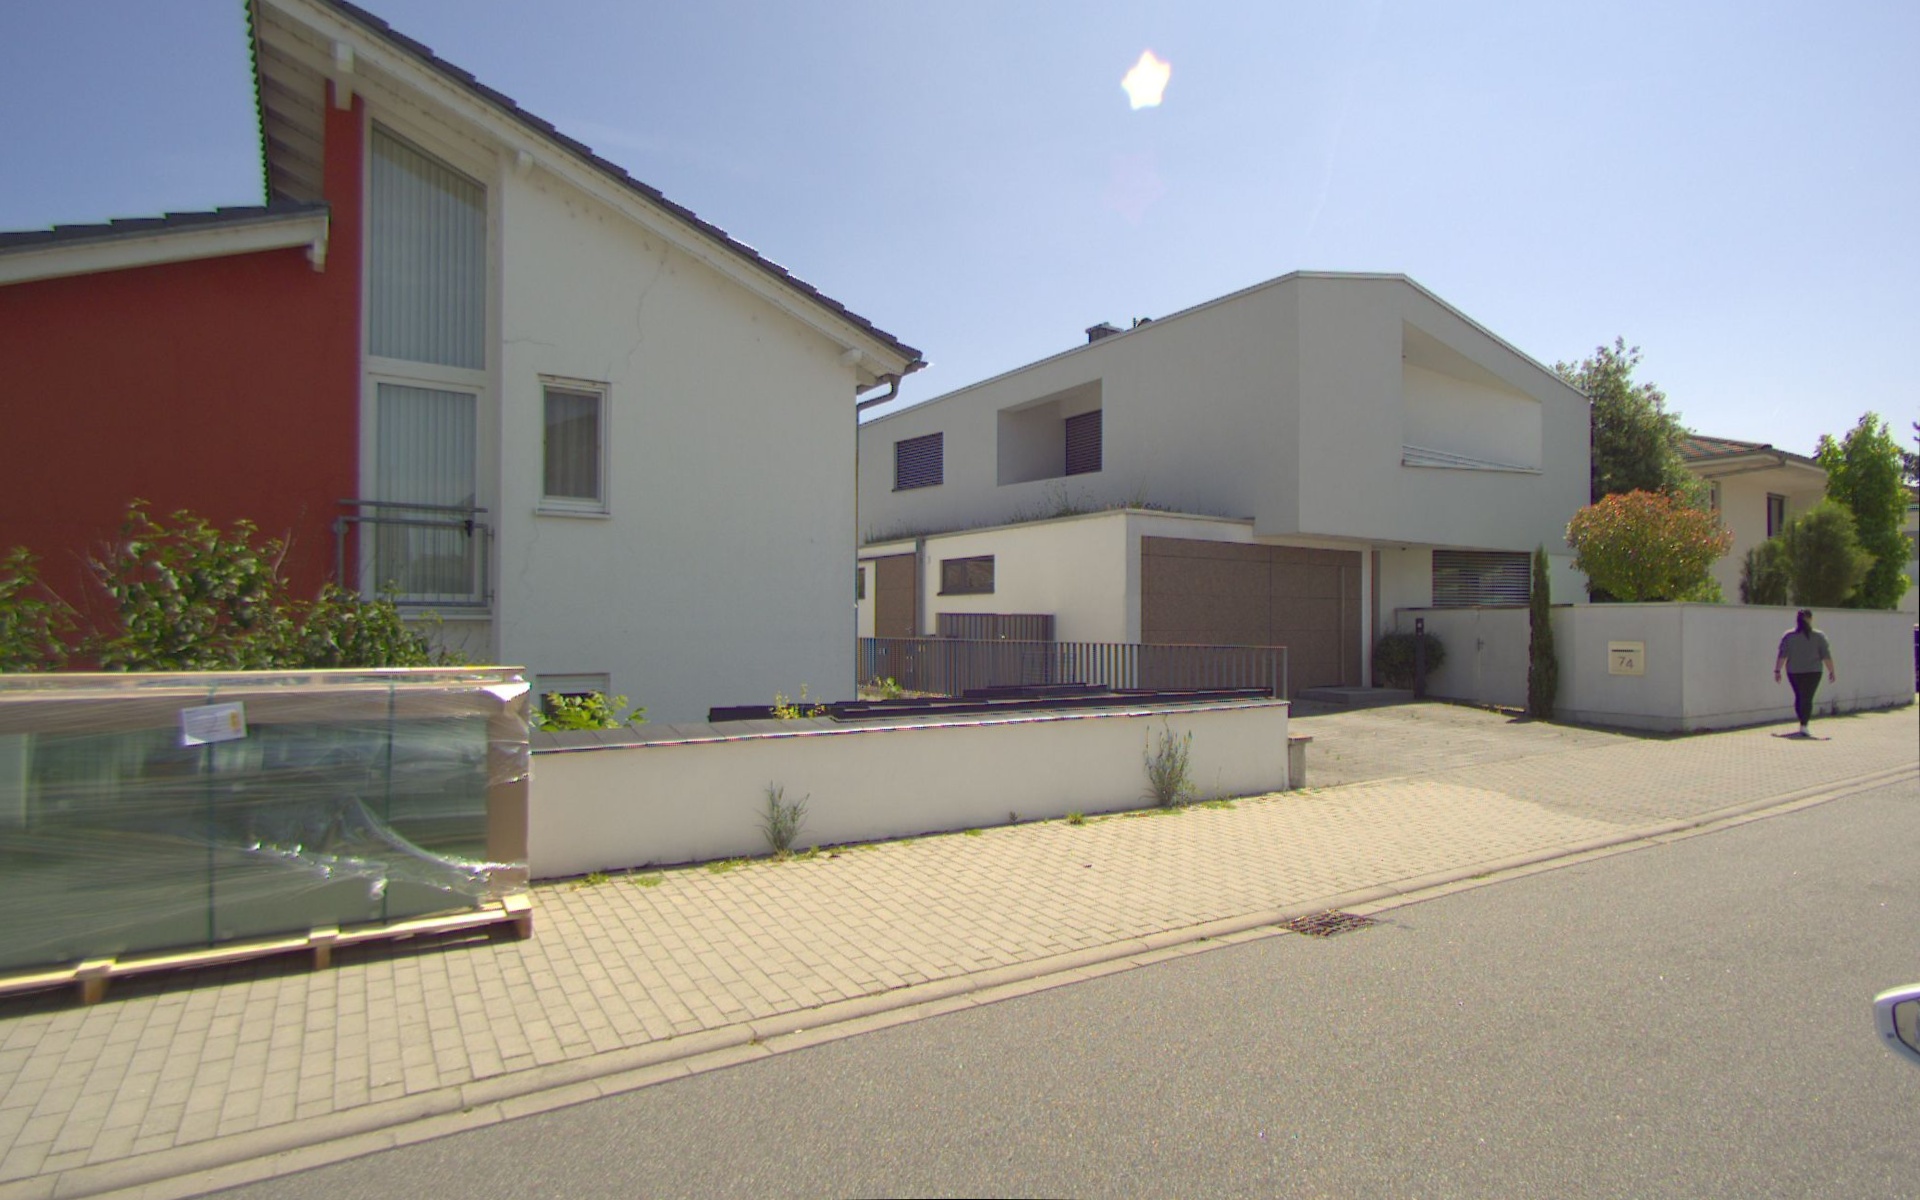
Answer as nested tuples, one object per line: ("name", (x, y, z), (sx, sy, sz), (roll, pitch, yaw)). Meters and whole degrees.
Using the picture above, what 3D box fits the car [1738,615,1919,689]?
("car", (21.751, 1.225, 24.174), (1.828, 1.493, 4.409), (1, 2, -28))

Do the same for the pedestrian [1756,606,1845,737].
("pedestrian", (11.805, 0.981, 14.116), (0.950, 1.770, 0.710), (1, -1, -33))
